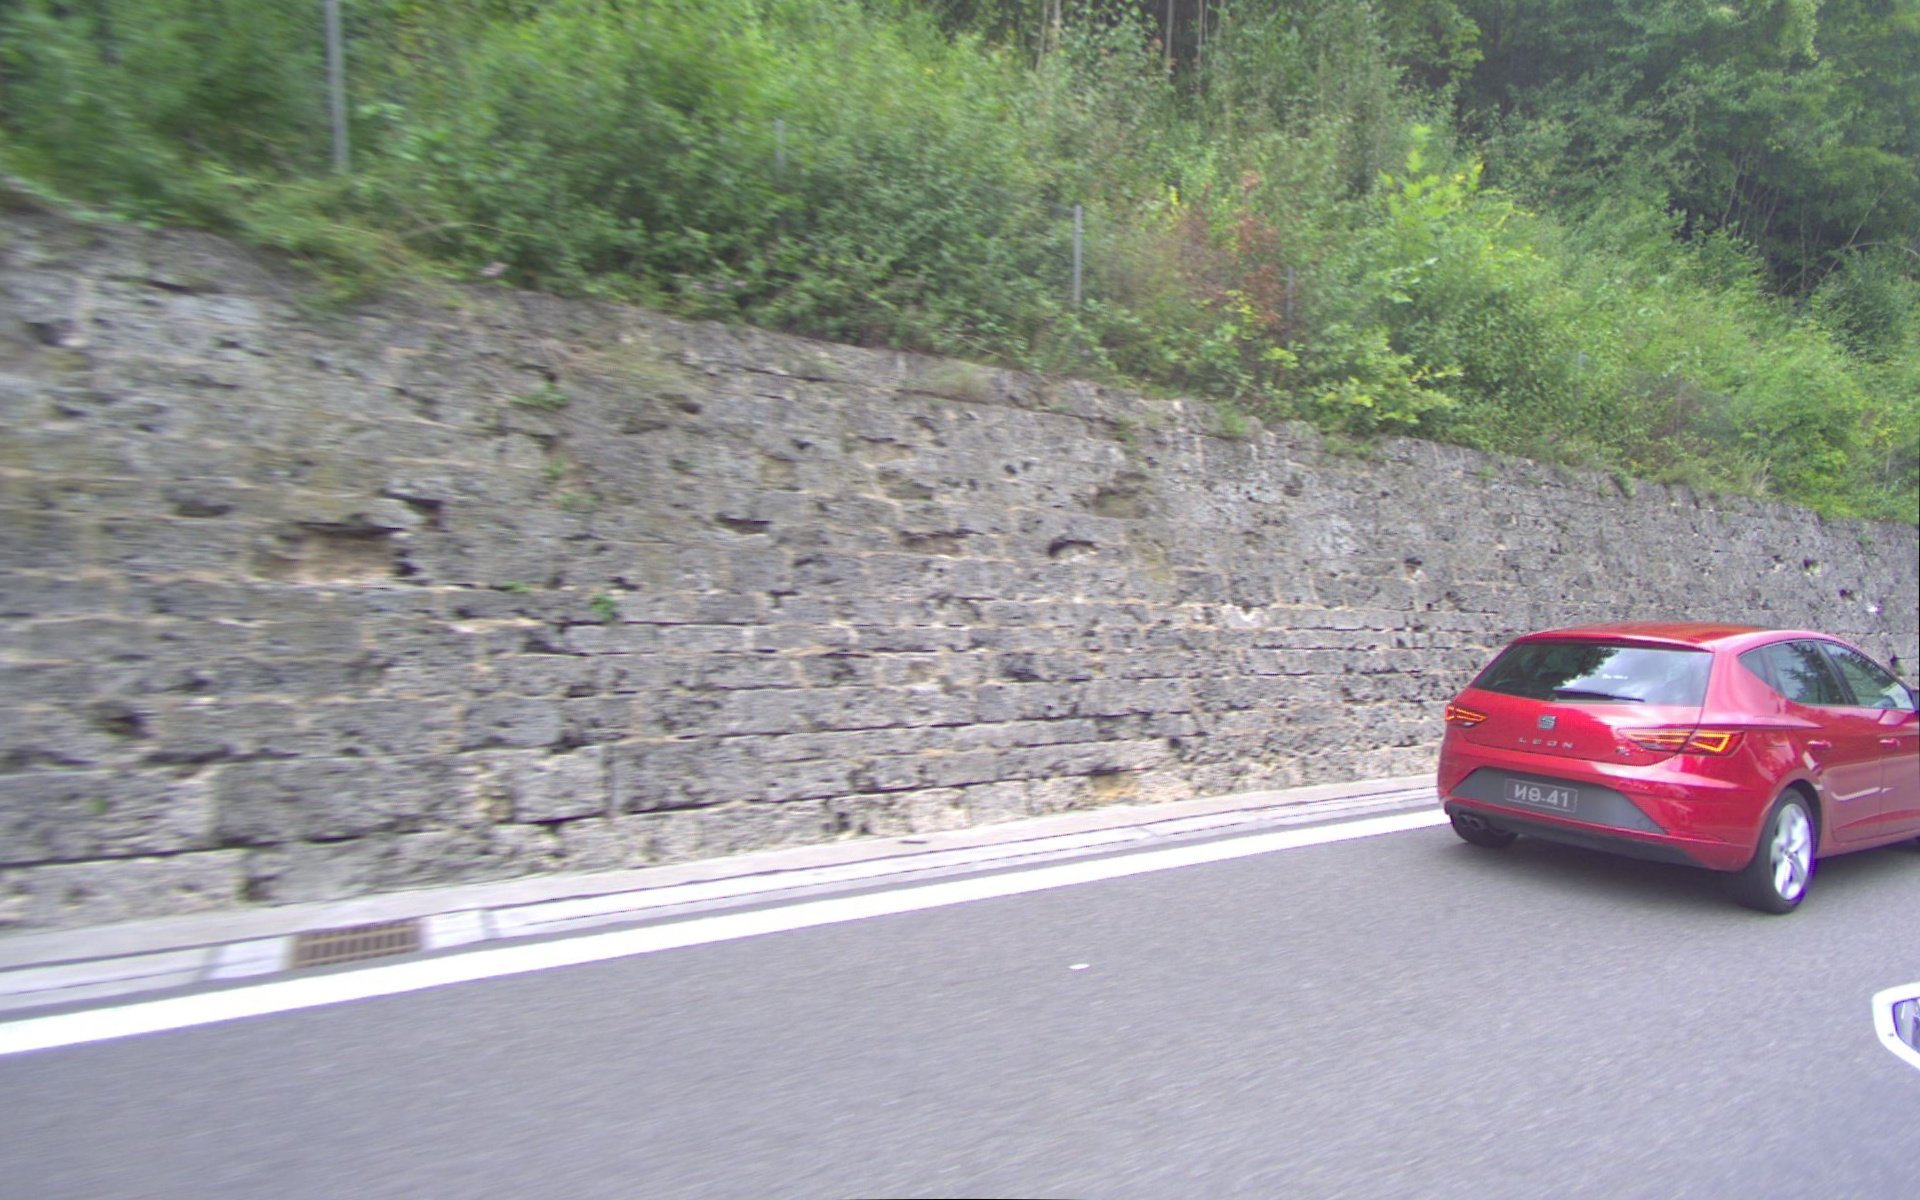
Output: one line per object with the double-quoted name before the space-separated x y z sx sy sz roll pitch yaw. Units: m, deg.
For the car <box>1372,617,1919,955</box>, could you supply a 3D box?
"car" 4.825 0.923 6.394 4.359 1.479 1.758 2 0 -30
